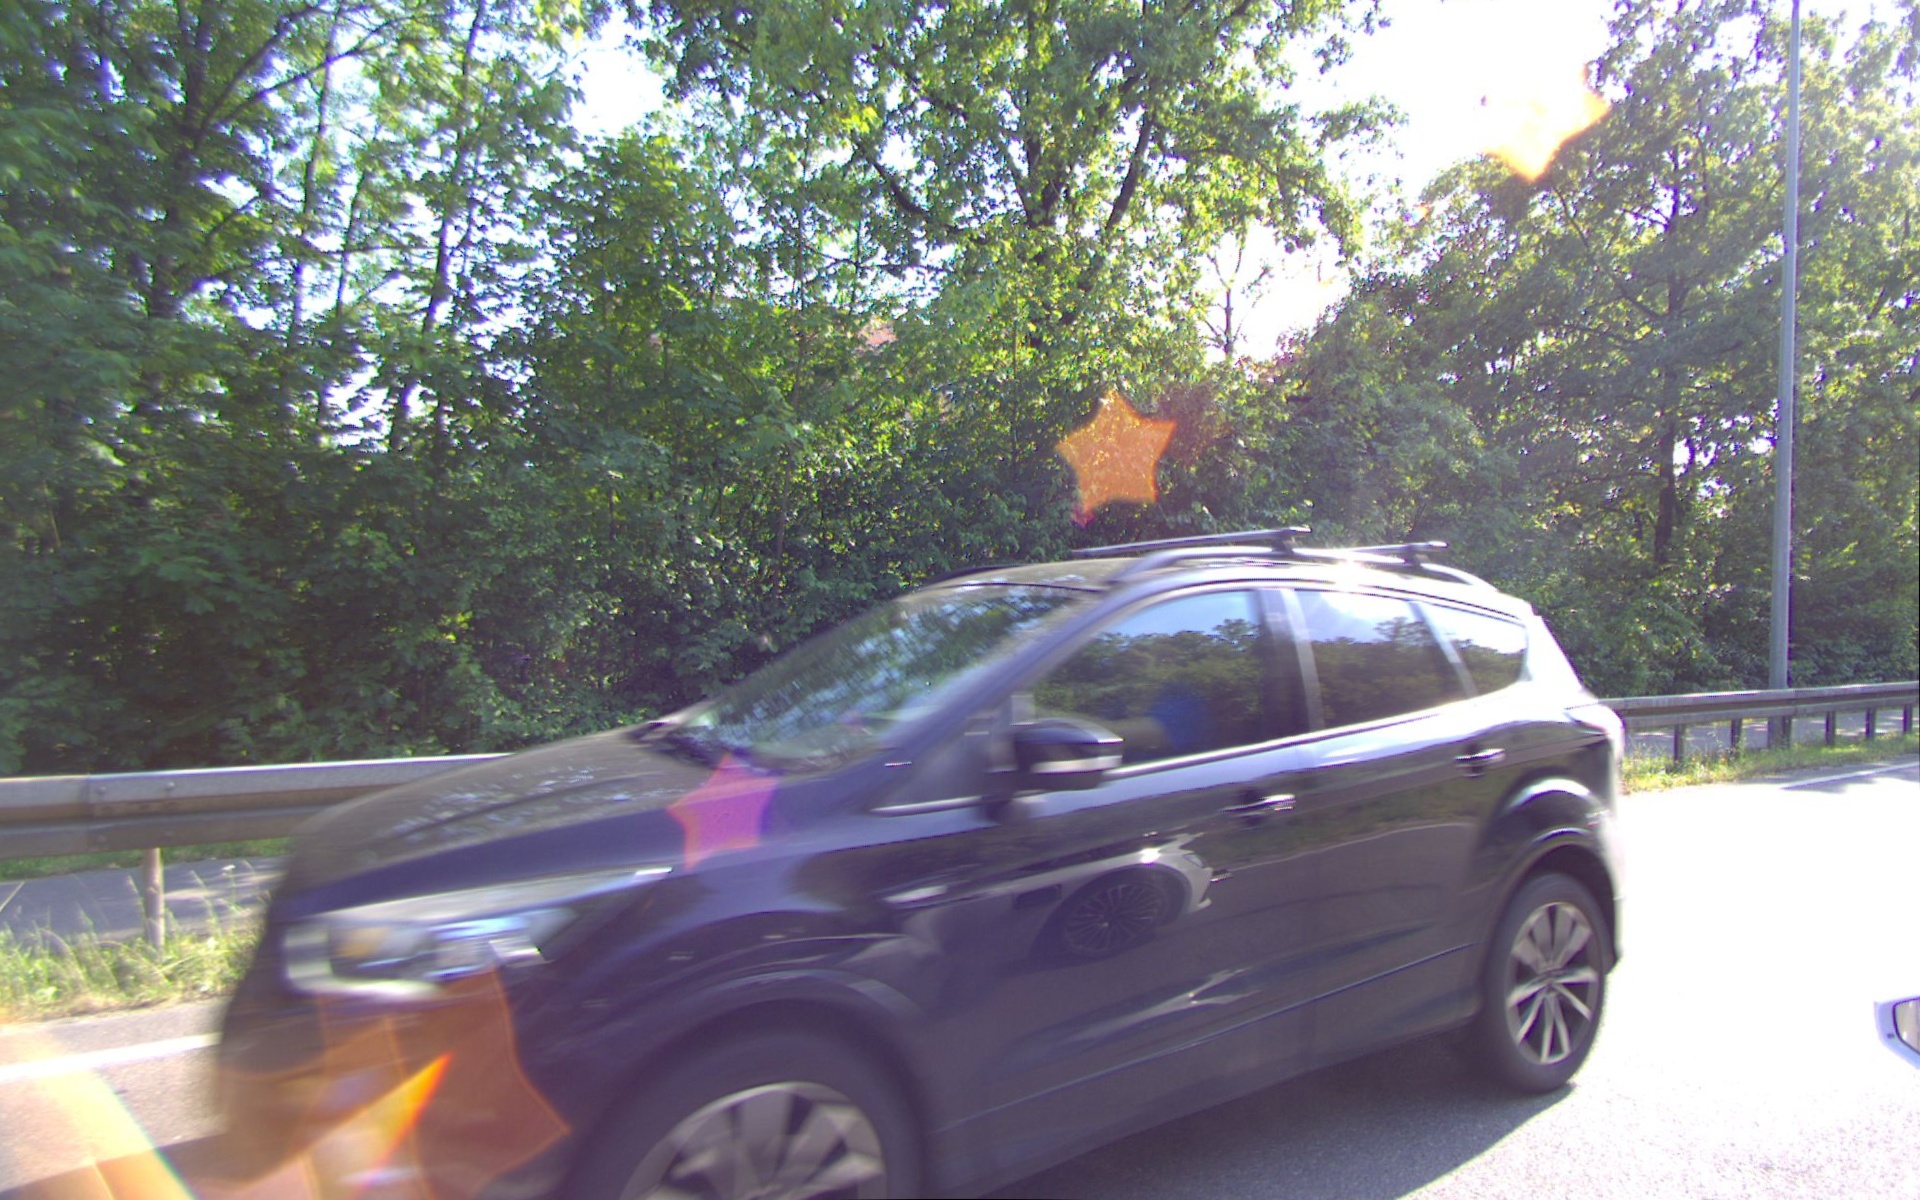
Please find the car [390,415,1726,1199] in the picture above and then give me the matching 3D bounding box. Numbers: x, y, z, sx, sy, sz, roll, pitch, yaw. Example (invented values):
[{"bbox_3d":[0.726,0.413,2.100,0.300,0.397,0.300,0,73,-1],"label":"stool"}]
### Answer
[{"bbox_3d":[0.540,0.645,3.307,4.172,1.740,1.739,1,-1,-31],"label":"car"}]
